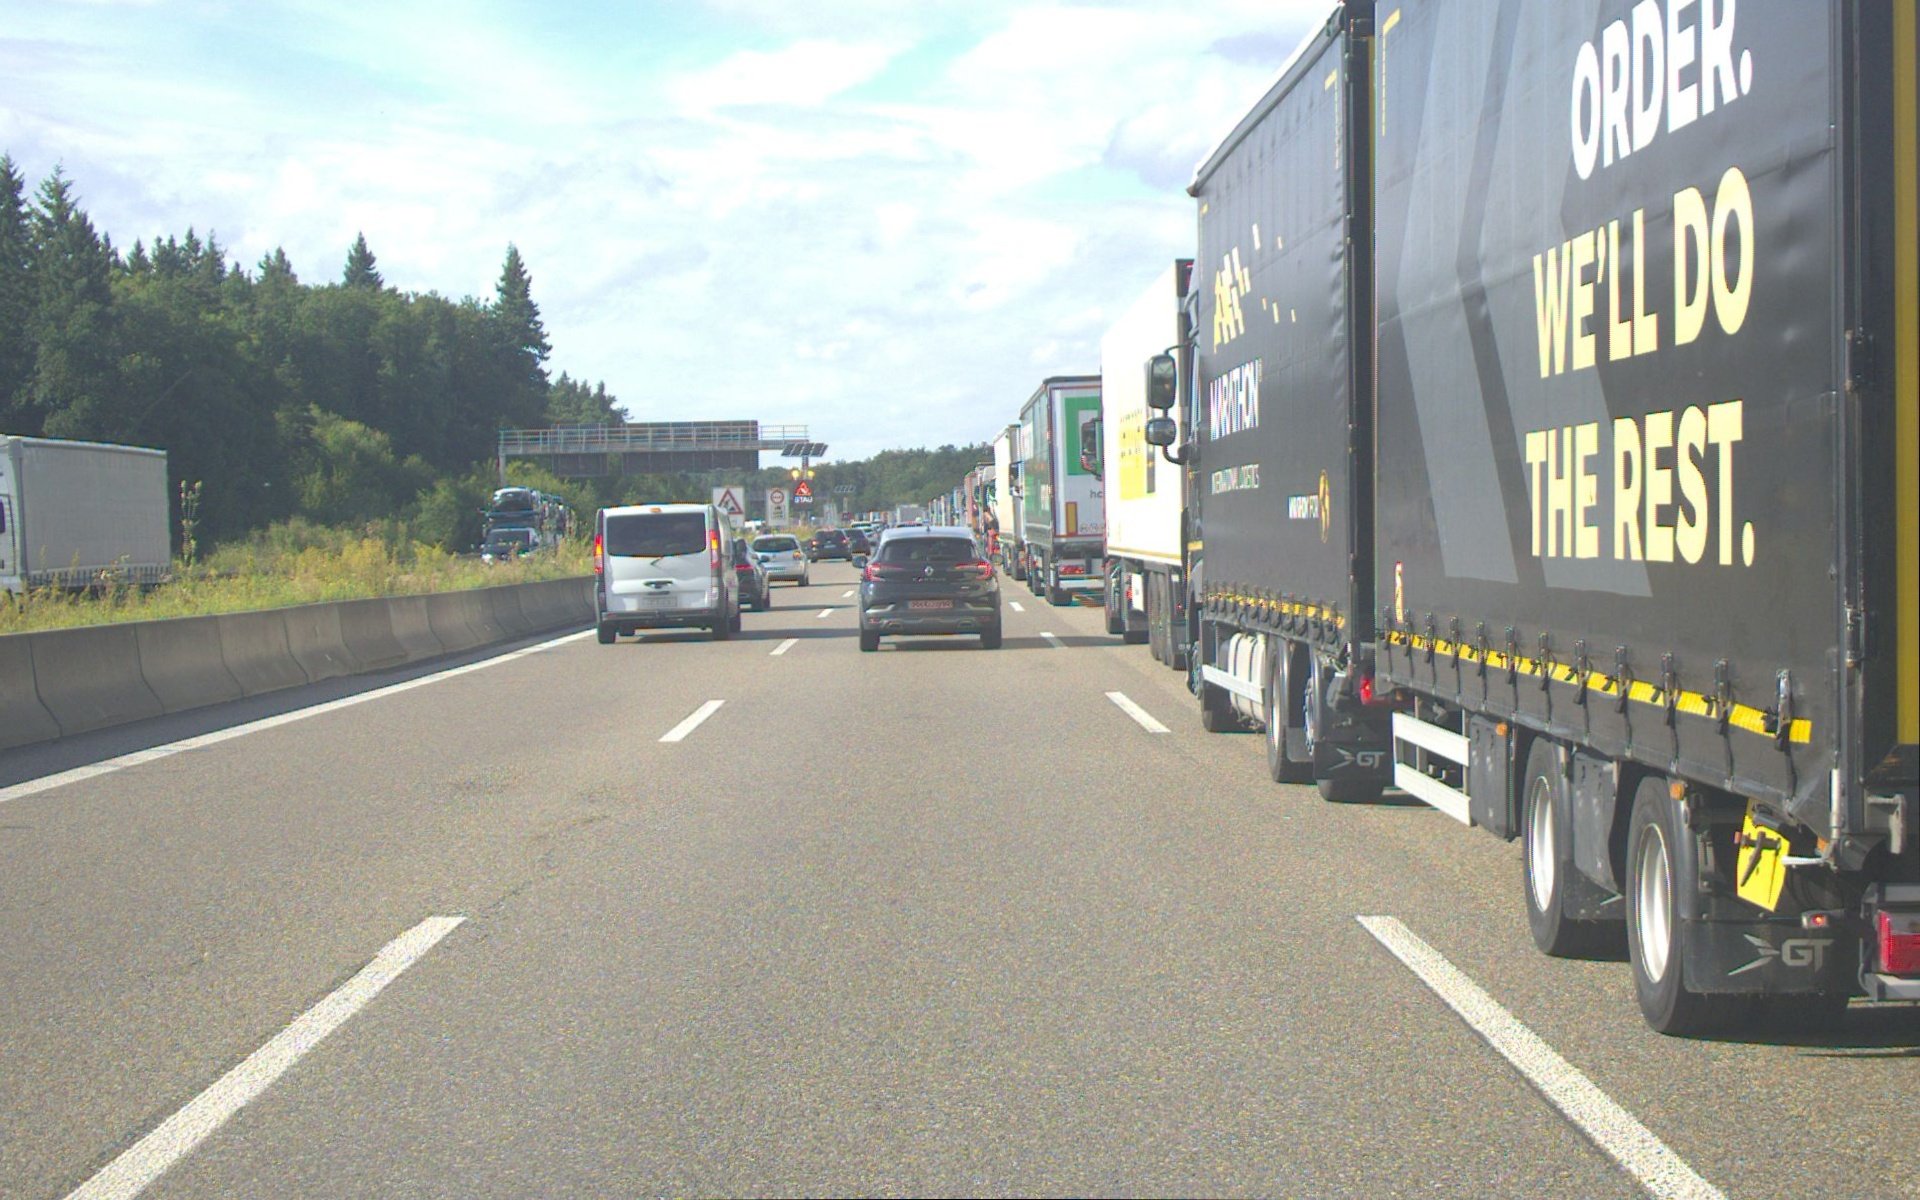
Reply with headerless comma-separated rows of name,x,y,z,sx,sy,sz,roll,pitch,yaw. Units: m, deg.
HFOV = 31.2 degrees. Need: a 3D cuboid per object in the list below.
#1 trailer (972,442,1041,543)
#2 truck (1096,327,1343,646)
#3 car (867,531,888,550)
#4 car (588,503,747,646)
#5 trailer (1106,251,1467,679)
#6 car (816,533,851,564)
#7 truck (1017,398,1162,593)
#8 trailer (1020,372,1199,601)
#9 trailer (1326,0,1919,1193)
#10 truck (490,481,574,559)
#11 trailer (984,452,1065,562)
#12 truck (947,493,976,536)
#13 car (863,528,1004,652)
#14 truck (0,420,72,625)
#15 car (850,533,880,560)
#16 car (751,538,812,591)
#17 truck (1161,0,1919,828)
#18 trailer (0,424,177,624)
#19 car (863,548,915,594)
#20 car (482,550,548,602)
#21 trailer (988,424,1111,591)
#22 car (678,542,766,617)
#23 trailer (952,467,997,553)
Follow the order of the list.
trailer,2.037,-4.751,153.961,2.802,4.229,11.057,-2,1,0
truck,3.338,-1.449,45.575,2.802,3.925,5.826,-1,1,0
car,-5.685,-4.107,237.161,1.361,1.296,3.085,1,1,-1
car,-4.276,-0.399,50.947,1.933,1.972,5.099,1,1,-1
trailer,3.305,-1.348,38.408,2.792,3.925,13.070,-1,1,0
car,-5.534,-2.251,151.132,1.434,1.305,3.533,1,1,-1
truck,2.671,-2.162,72.847,2.647,3.855,6.996,-2,1,0
trailer,2.690,-2.059,65.789,2.661,3.855,13.395,-2,1,0
trailer,3.162,-0.821,11.546,2.716,3.947,8.712,1,1,-1
truck,-21.202,-3.925,170.896,2.831,3.676,11.133,-2,1,-1
trailer,2.241,-3.251,122.557,2.541,3.641,10.627,-2,1,0
truck,0.100,-6.168,248.443,1.993,3.042,4.982,1,1,0
car,-0.340,-0.155,44.220,1.696,1.478,4.160,1,1,-1
truck,-20.040,-1.525,69.216,2.819,3.962,5.833,-1,1,-1
car,-4.813,-2.726,174.280,1.434,1.305,3.533,1,1,-1
car,-4.884,-0.979,94.395,1.500,1.391,3.476,1,1,-1
truck,3.013,-1.058,21.039,2.740,4.024,10.203,1,1,-1
trailer,-20.139,-1.607,75.671,2.832,3.978,13.550,-1,1,-1
car,-2.244,-0.929,107.895,1.581,1.391,3.208,1,1,-1
car,-16.747,-0.914,129.584,1.878,1.870,4.490,1,1,0
trailer,2.289,-2.448,92.385,2.703,4.068,12.945,-2,1,0
car,-4.682,-0.424,67.892,1.500,1.391,3.476,2,1,-1
trailer,0.747,-4.611,177.607,2.150,4.244,8.440,-2,1,0
